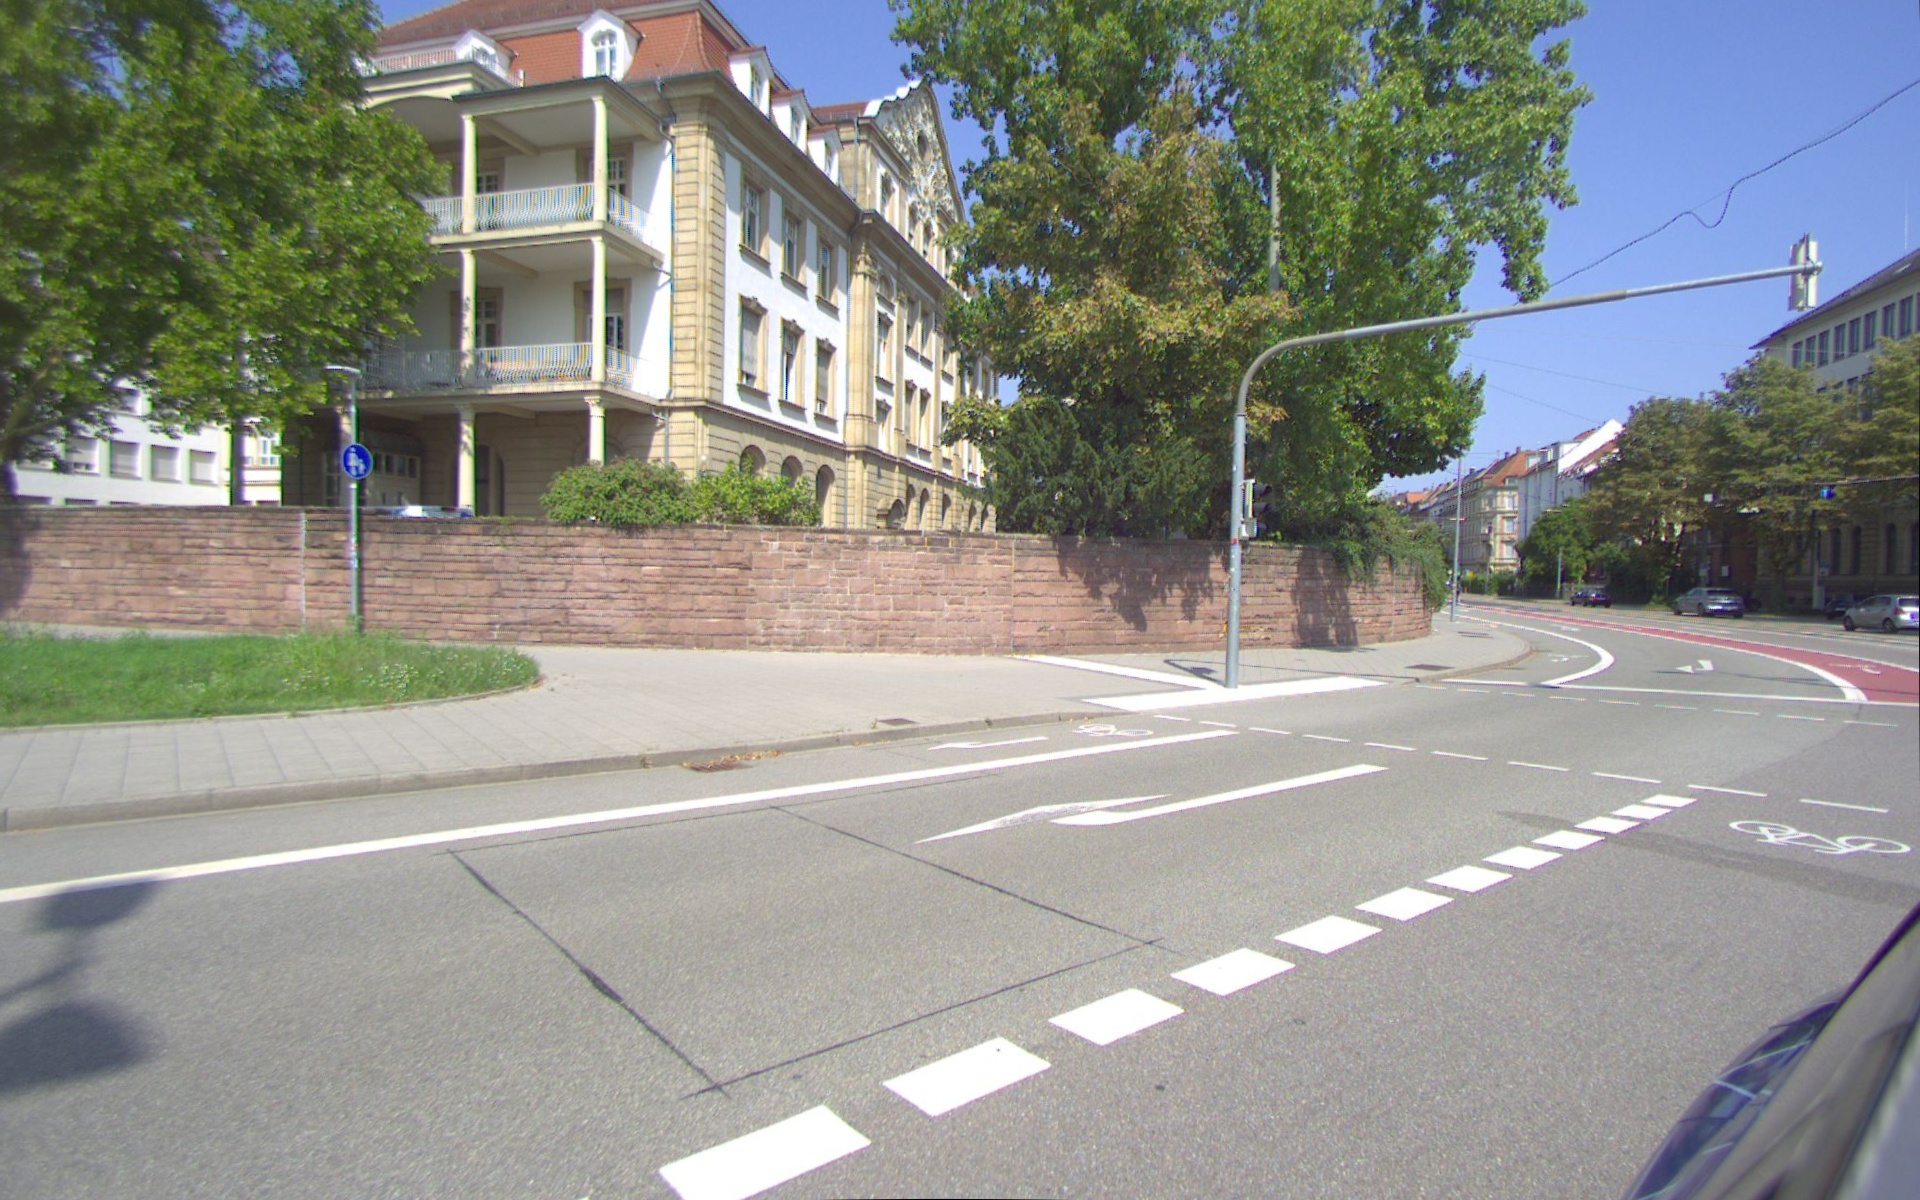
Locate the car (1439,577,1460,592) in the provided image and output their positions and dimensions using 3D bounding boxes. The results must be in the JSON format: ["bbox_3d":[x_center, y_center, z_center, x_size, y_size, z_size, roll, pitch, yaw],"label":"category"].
[{"bbox_3d":[58.593,-1.843,121.177,1.673,1.675,3.564,1,2,15],"label":"car"}]

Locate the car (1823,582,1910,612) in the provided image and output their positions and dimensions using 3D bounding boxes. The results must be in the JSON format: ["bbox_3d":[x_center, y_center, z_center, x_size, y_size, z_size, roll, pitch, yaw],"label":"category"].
[{"bbox_3d":[48.891,-0.174,54.573,4.076,1.514,1.825,1,1,-22],"label":"car"}]

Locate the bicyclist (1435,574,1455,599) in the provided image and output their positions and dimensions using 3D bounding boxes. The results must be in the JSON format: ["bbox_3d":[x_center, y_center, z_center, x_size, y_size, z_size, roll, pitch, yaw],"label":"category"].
[{"bbox_3d":[32.091,-0.899,66.914,0.885,1.558,0.630,3,2,-14],"label":"bicyclist"}]

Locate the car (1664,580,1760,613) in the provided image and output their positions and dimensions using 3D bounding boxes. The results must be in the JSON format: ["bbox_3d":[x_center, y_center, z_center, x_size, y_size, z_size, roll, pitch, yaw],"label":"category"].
[{"bbox_3d":[40.411,-0.227,54.530,1.745,1.630,4.671,1,2,2],"label":"car"}]

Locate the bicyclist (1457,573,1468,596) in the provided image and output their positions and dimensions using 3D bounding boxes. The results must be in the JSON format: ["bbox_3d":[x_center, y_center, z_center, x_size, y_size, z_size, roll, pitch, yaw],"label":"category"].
[{"bbox_3d":[36.570,-1.151,73.660,0.623,1.618,0.982,2,2,29],"label":"bicyclist"}]

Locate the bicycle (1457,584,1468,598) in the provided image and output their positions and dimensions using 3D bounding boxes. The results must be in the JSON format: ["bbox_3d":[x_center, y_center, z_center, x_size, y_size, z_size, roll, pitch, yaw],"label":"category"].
[{"bbox_3d":[36.591,-0.663,73.704,0.610,1.012,1.695,2,2,28],"label":"bicycle"}]

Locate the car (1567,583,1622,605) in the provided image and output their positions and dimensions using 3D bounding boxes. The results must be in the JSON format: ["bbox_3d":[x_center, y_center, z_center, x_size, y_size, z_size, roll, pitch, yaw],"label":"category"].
[{"bbox_3d":[45.238,-0.445,72.232,1.666,1.395,4.605,1,2,10],"label":"car"}]

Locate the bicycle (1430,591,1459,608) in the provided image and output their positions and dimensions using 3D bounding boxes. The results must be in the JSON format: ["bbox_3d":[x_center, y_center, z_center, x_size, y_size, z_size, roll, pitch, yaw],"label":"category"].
[{"bbox_3d":[32.070,-0.040,66.945,1.675,1.012,0.617,2,1,-14],"label":"bicycle"}]

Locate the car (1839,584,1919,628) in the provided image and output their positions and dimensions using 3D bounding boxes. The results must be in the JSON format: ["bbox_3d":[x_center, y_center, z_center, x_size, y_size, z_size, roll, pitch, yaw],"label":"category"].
[{"bbox_3d":[36.138,0.218,38.841,1.630,1.549,4.312,2,2,11],"label":"car"}]
